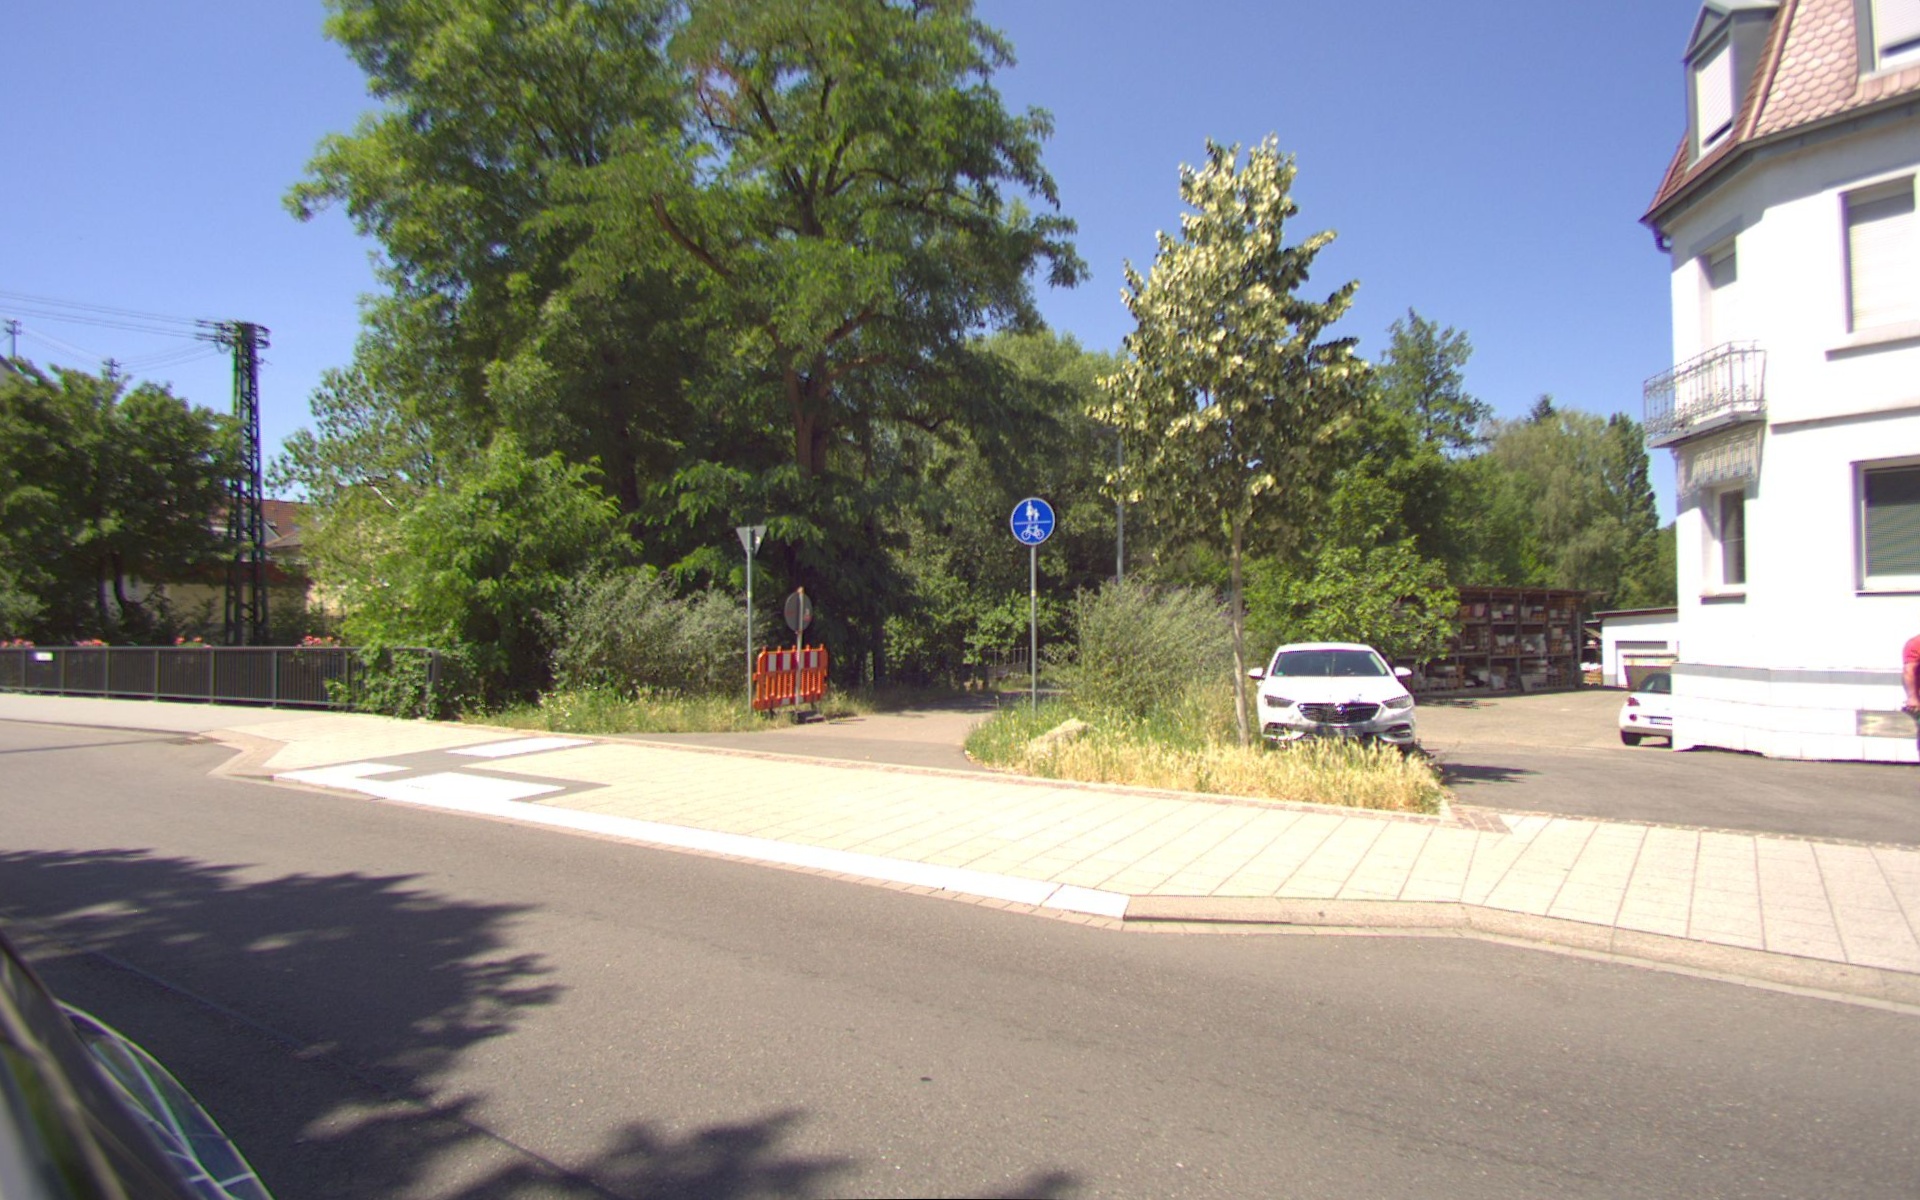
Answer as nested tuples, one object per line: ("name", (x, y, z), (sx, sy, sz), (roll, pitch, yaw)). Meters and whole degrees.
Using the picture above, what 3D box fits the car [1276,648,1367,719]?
("car", (9.069, 2.047, 25.689), (1.983, 1.554, 3.977), (-1, -2, 17))

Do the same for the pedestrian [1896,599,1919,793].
("pedestrian", (9.124, 0.878, 9.088), (0.730, 1.768, 0.735), (0, -2, 10))

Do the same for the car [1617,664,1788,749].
("car", (14.615, 2.094, 19.862), (3.936, 1.443, 1.766), (6, -5, -39))

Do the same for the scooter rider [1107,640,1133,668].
("scooter rider", (6.230, 2.103, 39.427), (0.798, 1.059, 0.914), (-2, -1, 21))

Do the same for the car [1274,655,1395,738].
("car", (7.123, 1.803, 19.601), (1.983, 1.355, 3.976), (1, -4, 18))

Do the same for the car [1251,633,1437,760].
("car", (5.074, 1.164, 13.849), (1.983, 1.367, 4.681), (-1, -1, 17))

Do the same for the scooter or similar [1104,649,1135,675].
("scooter or similar", (6.207, 2.401, 39.367), (0.912, 0.931, 1.614), (-1, -2, 20))
